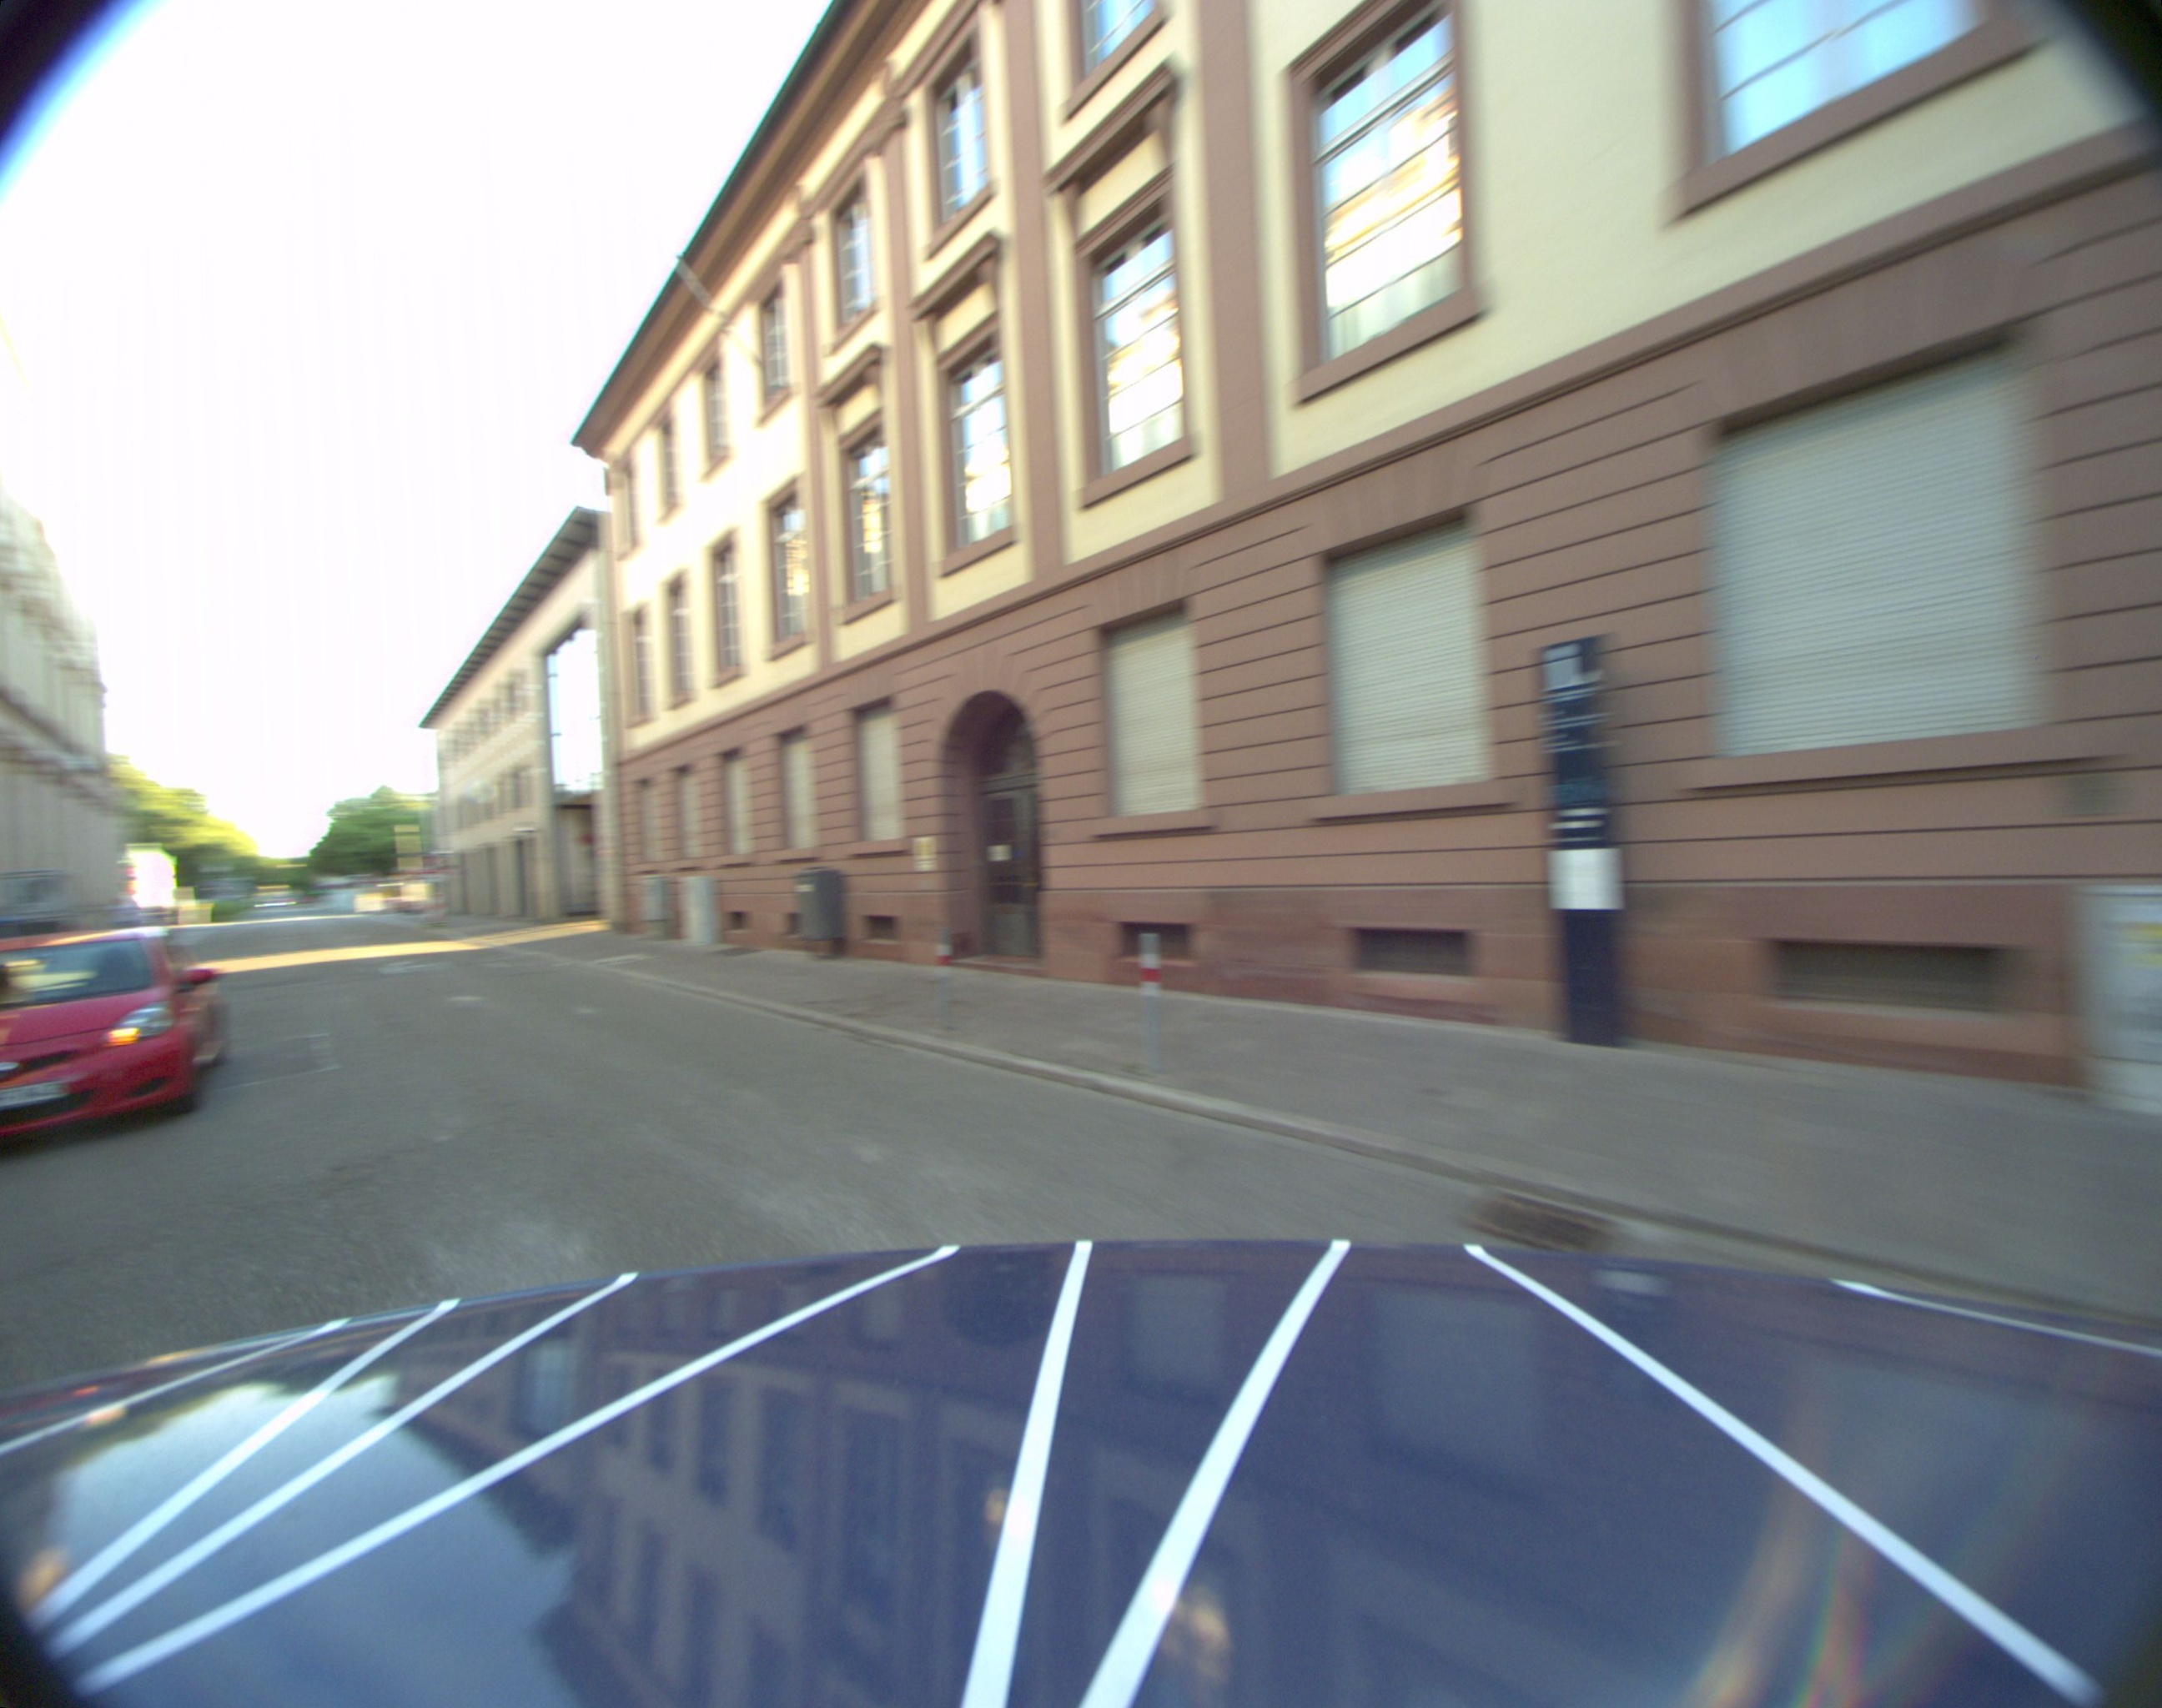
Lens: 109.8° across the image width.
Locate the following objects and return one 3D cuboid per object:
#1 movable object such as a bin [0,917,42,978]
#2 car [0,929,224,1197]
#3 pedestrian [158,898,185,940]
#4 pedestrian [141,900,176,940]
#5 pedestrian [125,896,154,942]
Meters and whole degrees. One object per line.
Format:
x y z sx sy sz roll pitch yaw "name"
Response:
-25.378 2.203 17.916 1.134 1.366 0.901 -3 -2 42 "movable object such as a bin"
-8.016 1.464 5.808 3.587 1.417 1.622 -3 3 45 "car"
-36.625 2.594 30.617 0.756 1.642 0.651 -2 -3 42 "pedestrian"
-38.052 2.719 31.346 0.921 1.588 0.858 -3 -3 42 "pedestrian"
-37.233 2.546 30.047 0.756 1.768 0.651 -2 -3 42 "pedestrian"
